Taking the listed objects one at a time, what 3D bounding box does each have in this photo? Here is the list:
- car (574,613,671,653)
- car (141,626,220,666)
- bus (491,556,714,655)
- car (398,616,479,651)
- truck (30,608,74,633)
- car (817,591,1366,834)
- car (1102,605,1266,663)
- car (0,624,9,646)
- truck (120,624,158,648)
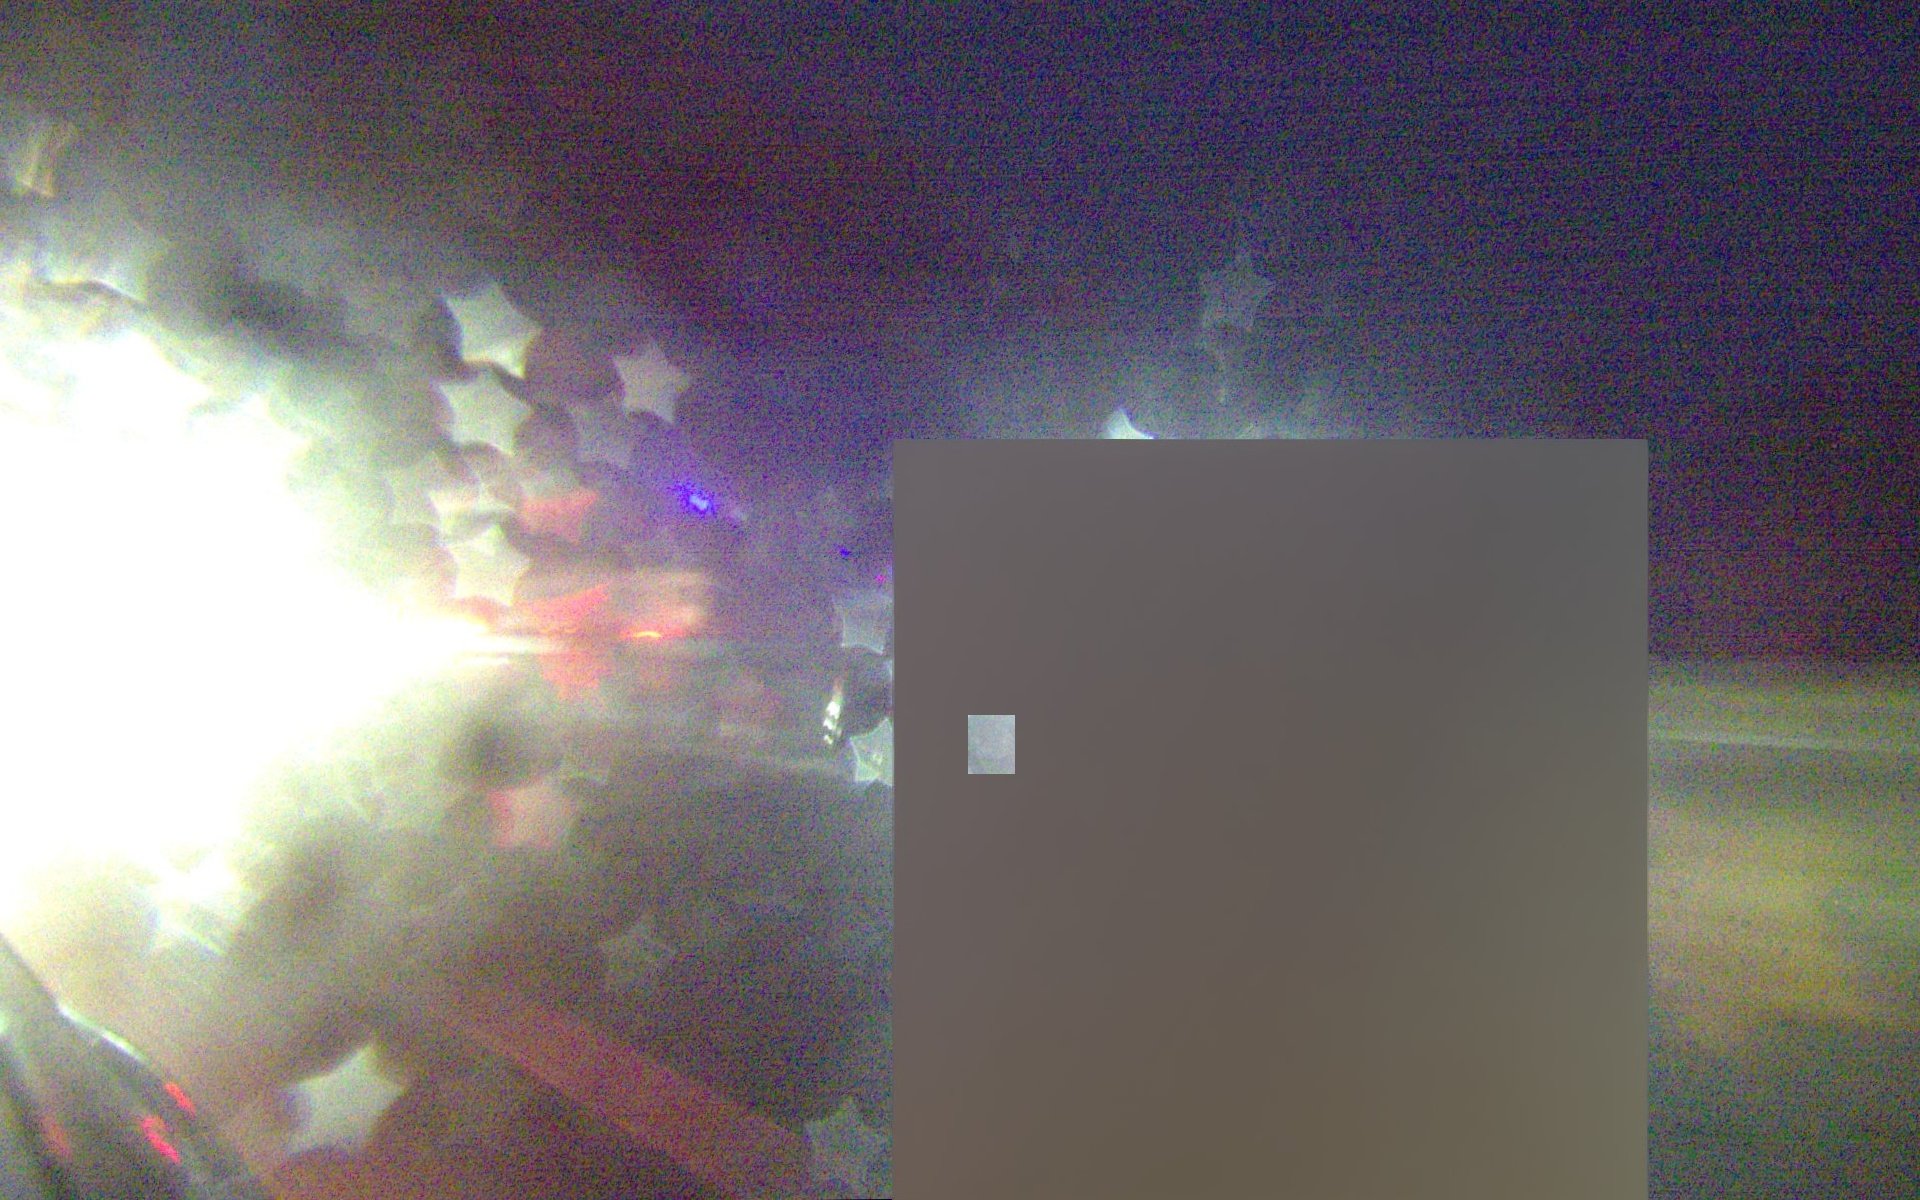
[{"bbox_3d":[-14.373,1.368,43.021,4.457,1.569,1.861,-1,0,40],"label":"car"},{"bbox_3d":[-34.404,1.973,44.622,4.586,1.572,1.972,-1,0,42],"label":"car"},{"bbox_3d":[-19.307,0.342,53.229,17.003,4.524,3.043,-1,0,41],"label":"bus"},{"bbox_3d":[-24.844,1.563,48.126,4.457,1.569,1.861,-1,0,40],"label":"car"},{"bbox_3d":[-152.644,3.401,170.039,17.174,3.917,3.463,-1,0,42],"label":"truck"},{"bbox_3d":[0.909,0.702,8.212,3.998,1.452,1.973,-1,0,41],"label":"car"},{"bbox_3d":[6.671,0.986,30.375,4.457,1.569,1.861,-1,0,40],"label":"car"},{"bbox_3d":[-84.600,3.053,88.387,3.999,1.821,1.972,-1,0,42],"label":"car"},{"bbox_3d":[-88.147,3.845,108.620,6.435,2.365,1.973,-1,0,41],"label":"truck"}]
